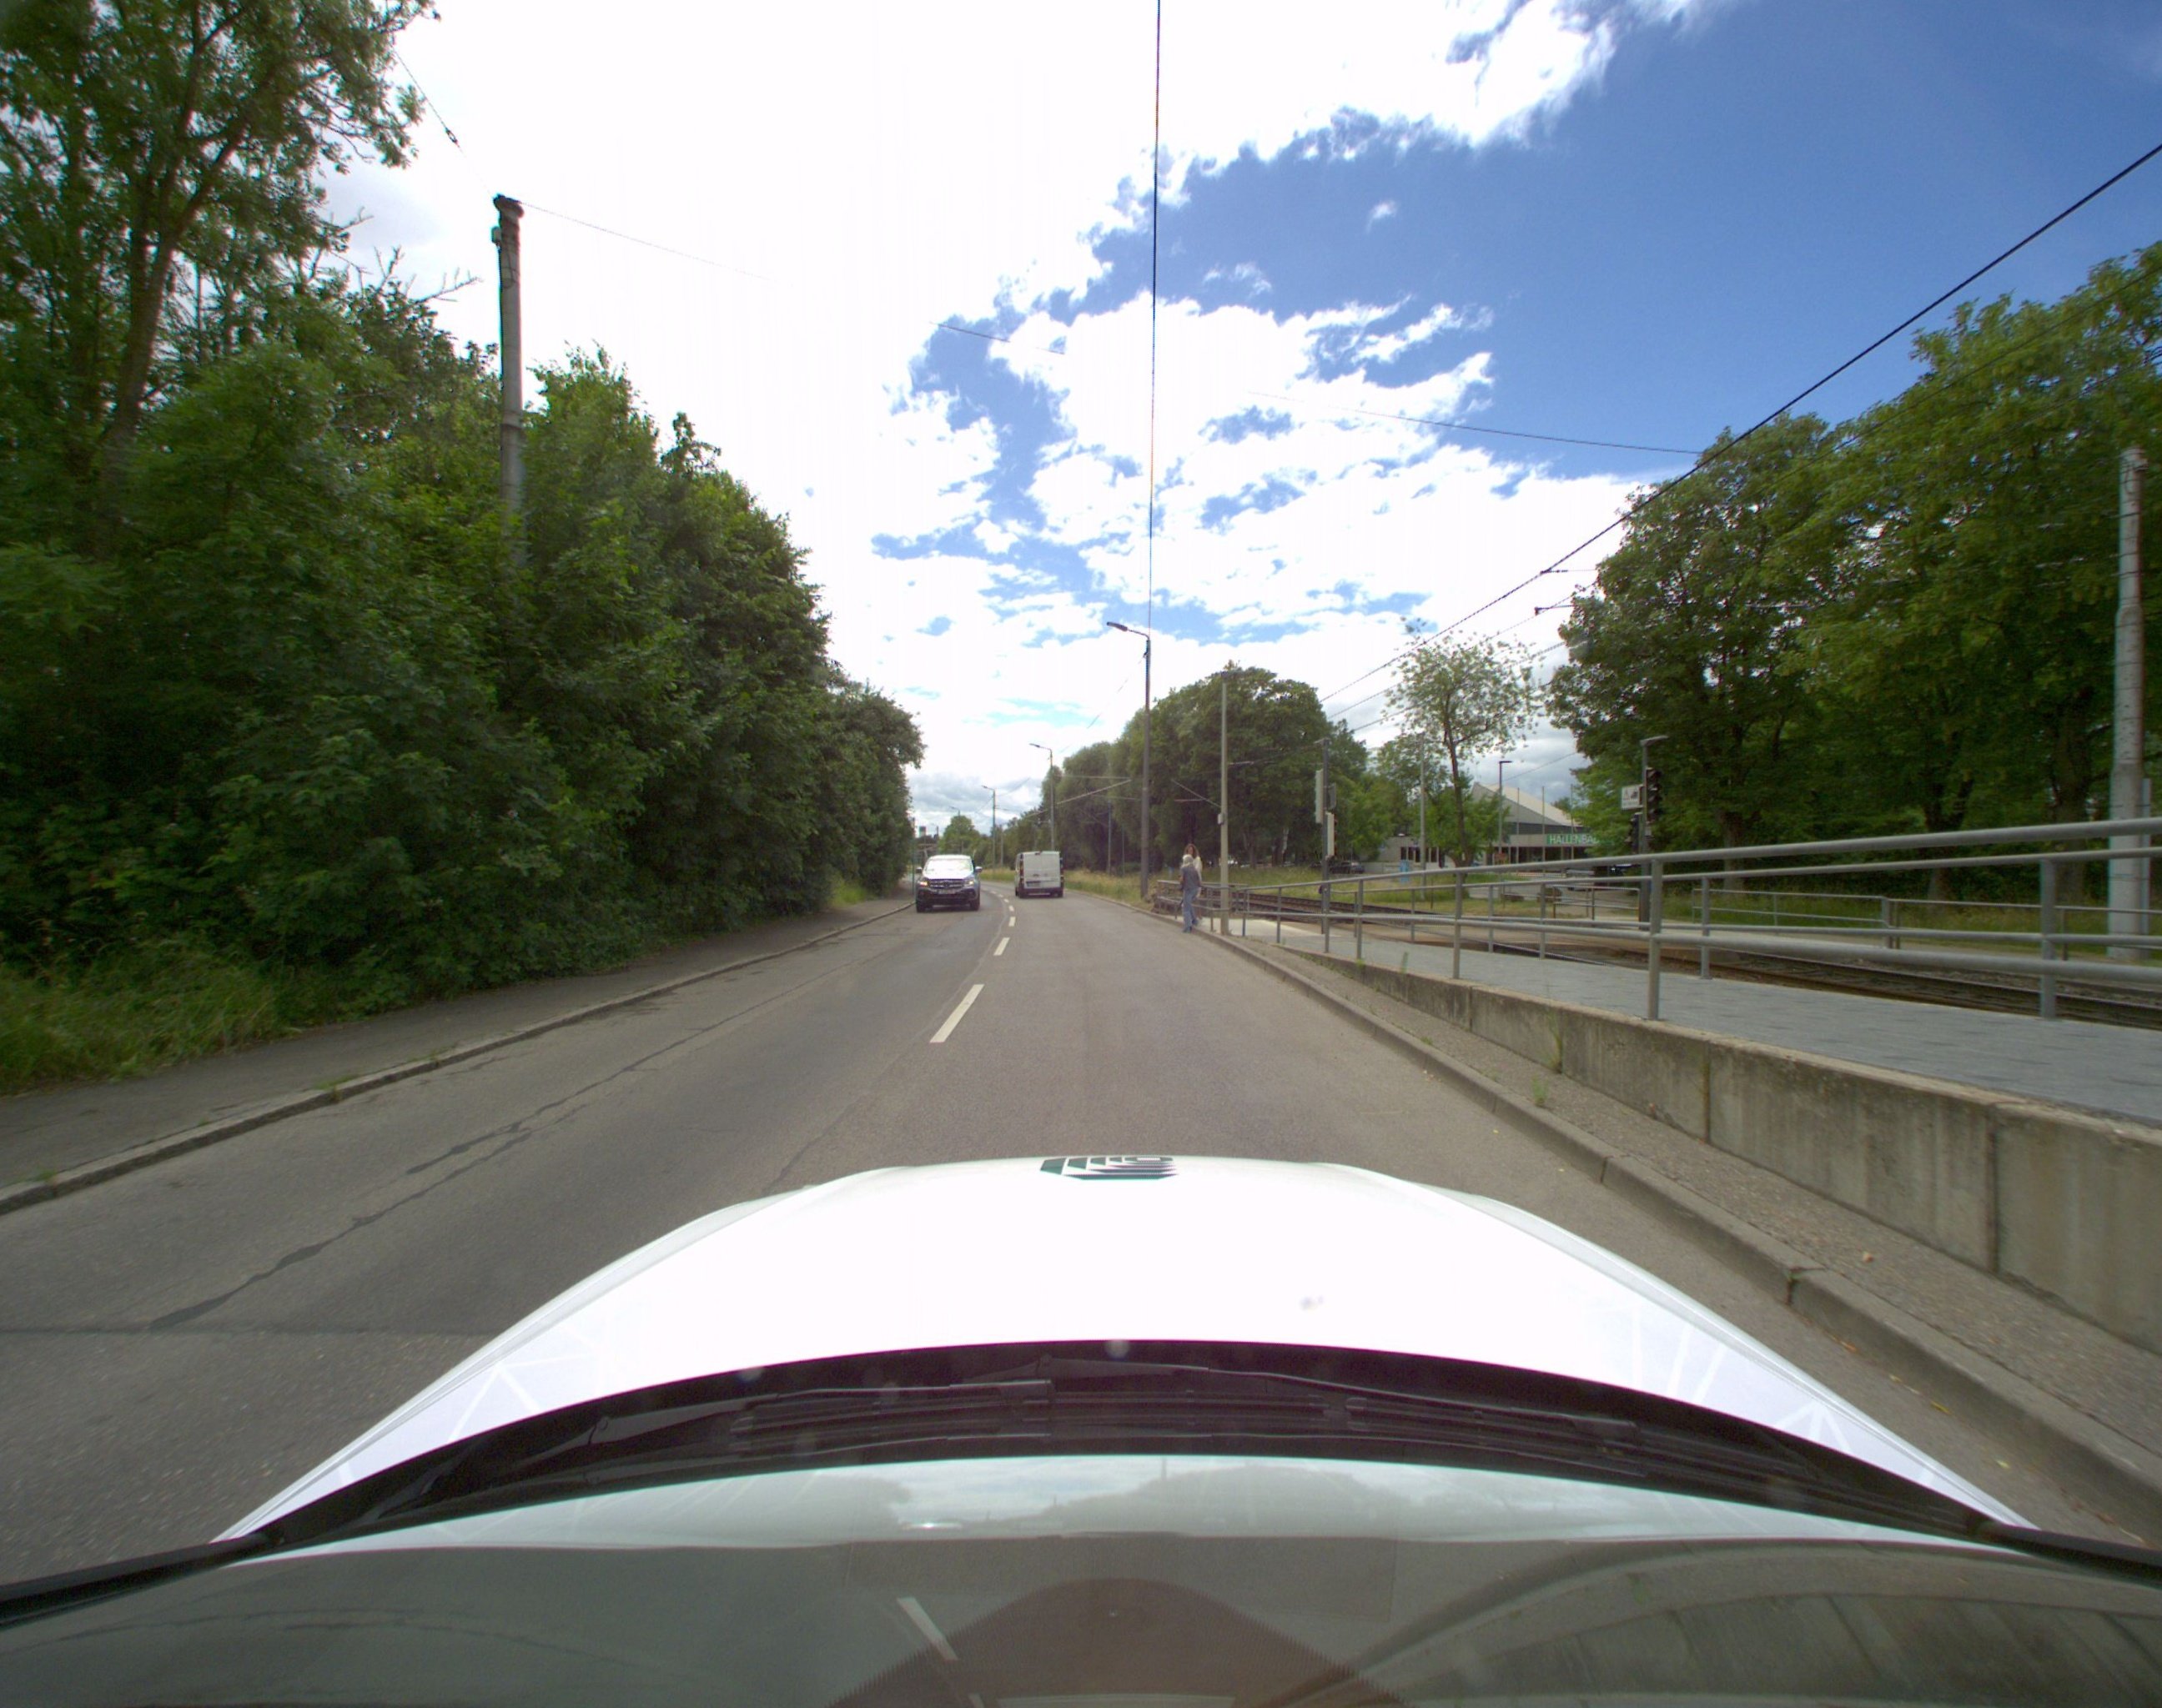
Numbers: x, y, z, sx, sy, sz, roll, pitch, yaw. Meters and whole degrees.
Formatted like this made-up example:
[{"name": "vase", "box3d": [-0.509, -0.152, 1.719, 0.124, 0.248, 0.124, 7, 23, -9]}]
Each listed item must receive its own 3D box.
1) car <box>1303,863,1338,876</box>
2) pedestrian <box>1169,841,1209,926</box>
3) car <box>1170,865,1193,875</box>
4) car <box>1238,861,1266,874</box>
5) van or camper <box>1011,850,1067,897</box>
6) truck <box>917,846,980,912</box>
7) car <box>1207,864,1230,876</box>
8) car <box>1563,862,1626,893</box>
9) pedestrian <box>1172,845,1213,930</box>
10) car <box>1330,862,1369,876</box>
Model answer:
[{"name": "car", "box3d": [27.225, 1.743, 92.648, 1.997, 1.443, 3.980, 0, -1, -15]}, {"name": "pedestrian", "box3d": [2.404, 0.668, 18.175, 0.662, 1.841, 0.592, 2, -4, -26]}, {"name": "car", "box3d": [18.461, 2.949, 149.548, 2.010, 1.812, 3.953, 1, -2, -40]}, {"name": "car", "box3d": [22.942, 1.806, 109.279, 1.996, 1.700, 4.208, 1, -2, -14]}, {"name": "van or camper", "box3d": [-1.914, 0.857, 35.618, 1.942, 1.897, 4.270, -1, -1, -9]}, {"name": "truck", "box3d": [-4.391, 0.769, 26.661, 1.849, 1.966, 4.939, 0, -1, -11]}, {"name": "car", "box3d": [20.197, 2.296, 119.834, 1.995, 1.700, 3.982, 1, -2, -13]}, {"name": "car", "box3d": [32.224, 1.424, 51.046, 4.736, 1.861, 1.895, 1, -1, -39]}, {"name": "pedestrian", "box3d": [2.309, 0.702, 16.918, 0.476, 1.729, 0.793, 2, -4, -26]}, {"name": "car", "box3d": [28.705, 1.648, 87.134, 1.997, 1.443, 4.324, 0, -1, -15]}]
